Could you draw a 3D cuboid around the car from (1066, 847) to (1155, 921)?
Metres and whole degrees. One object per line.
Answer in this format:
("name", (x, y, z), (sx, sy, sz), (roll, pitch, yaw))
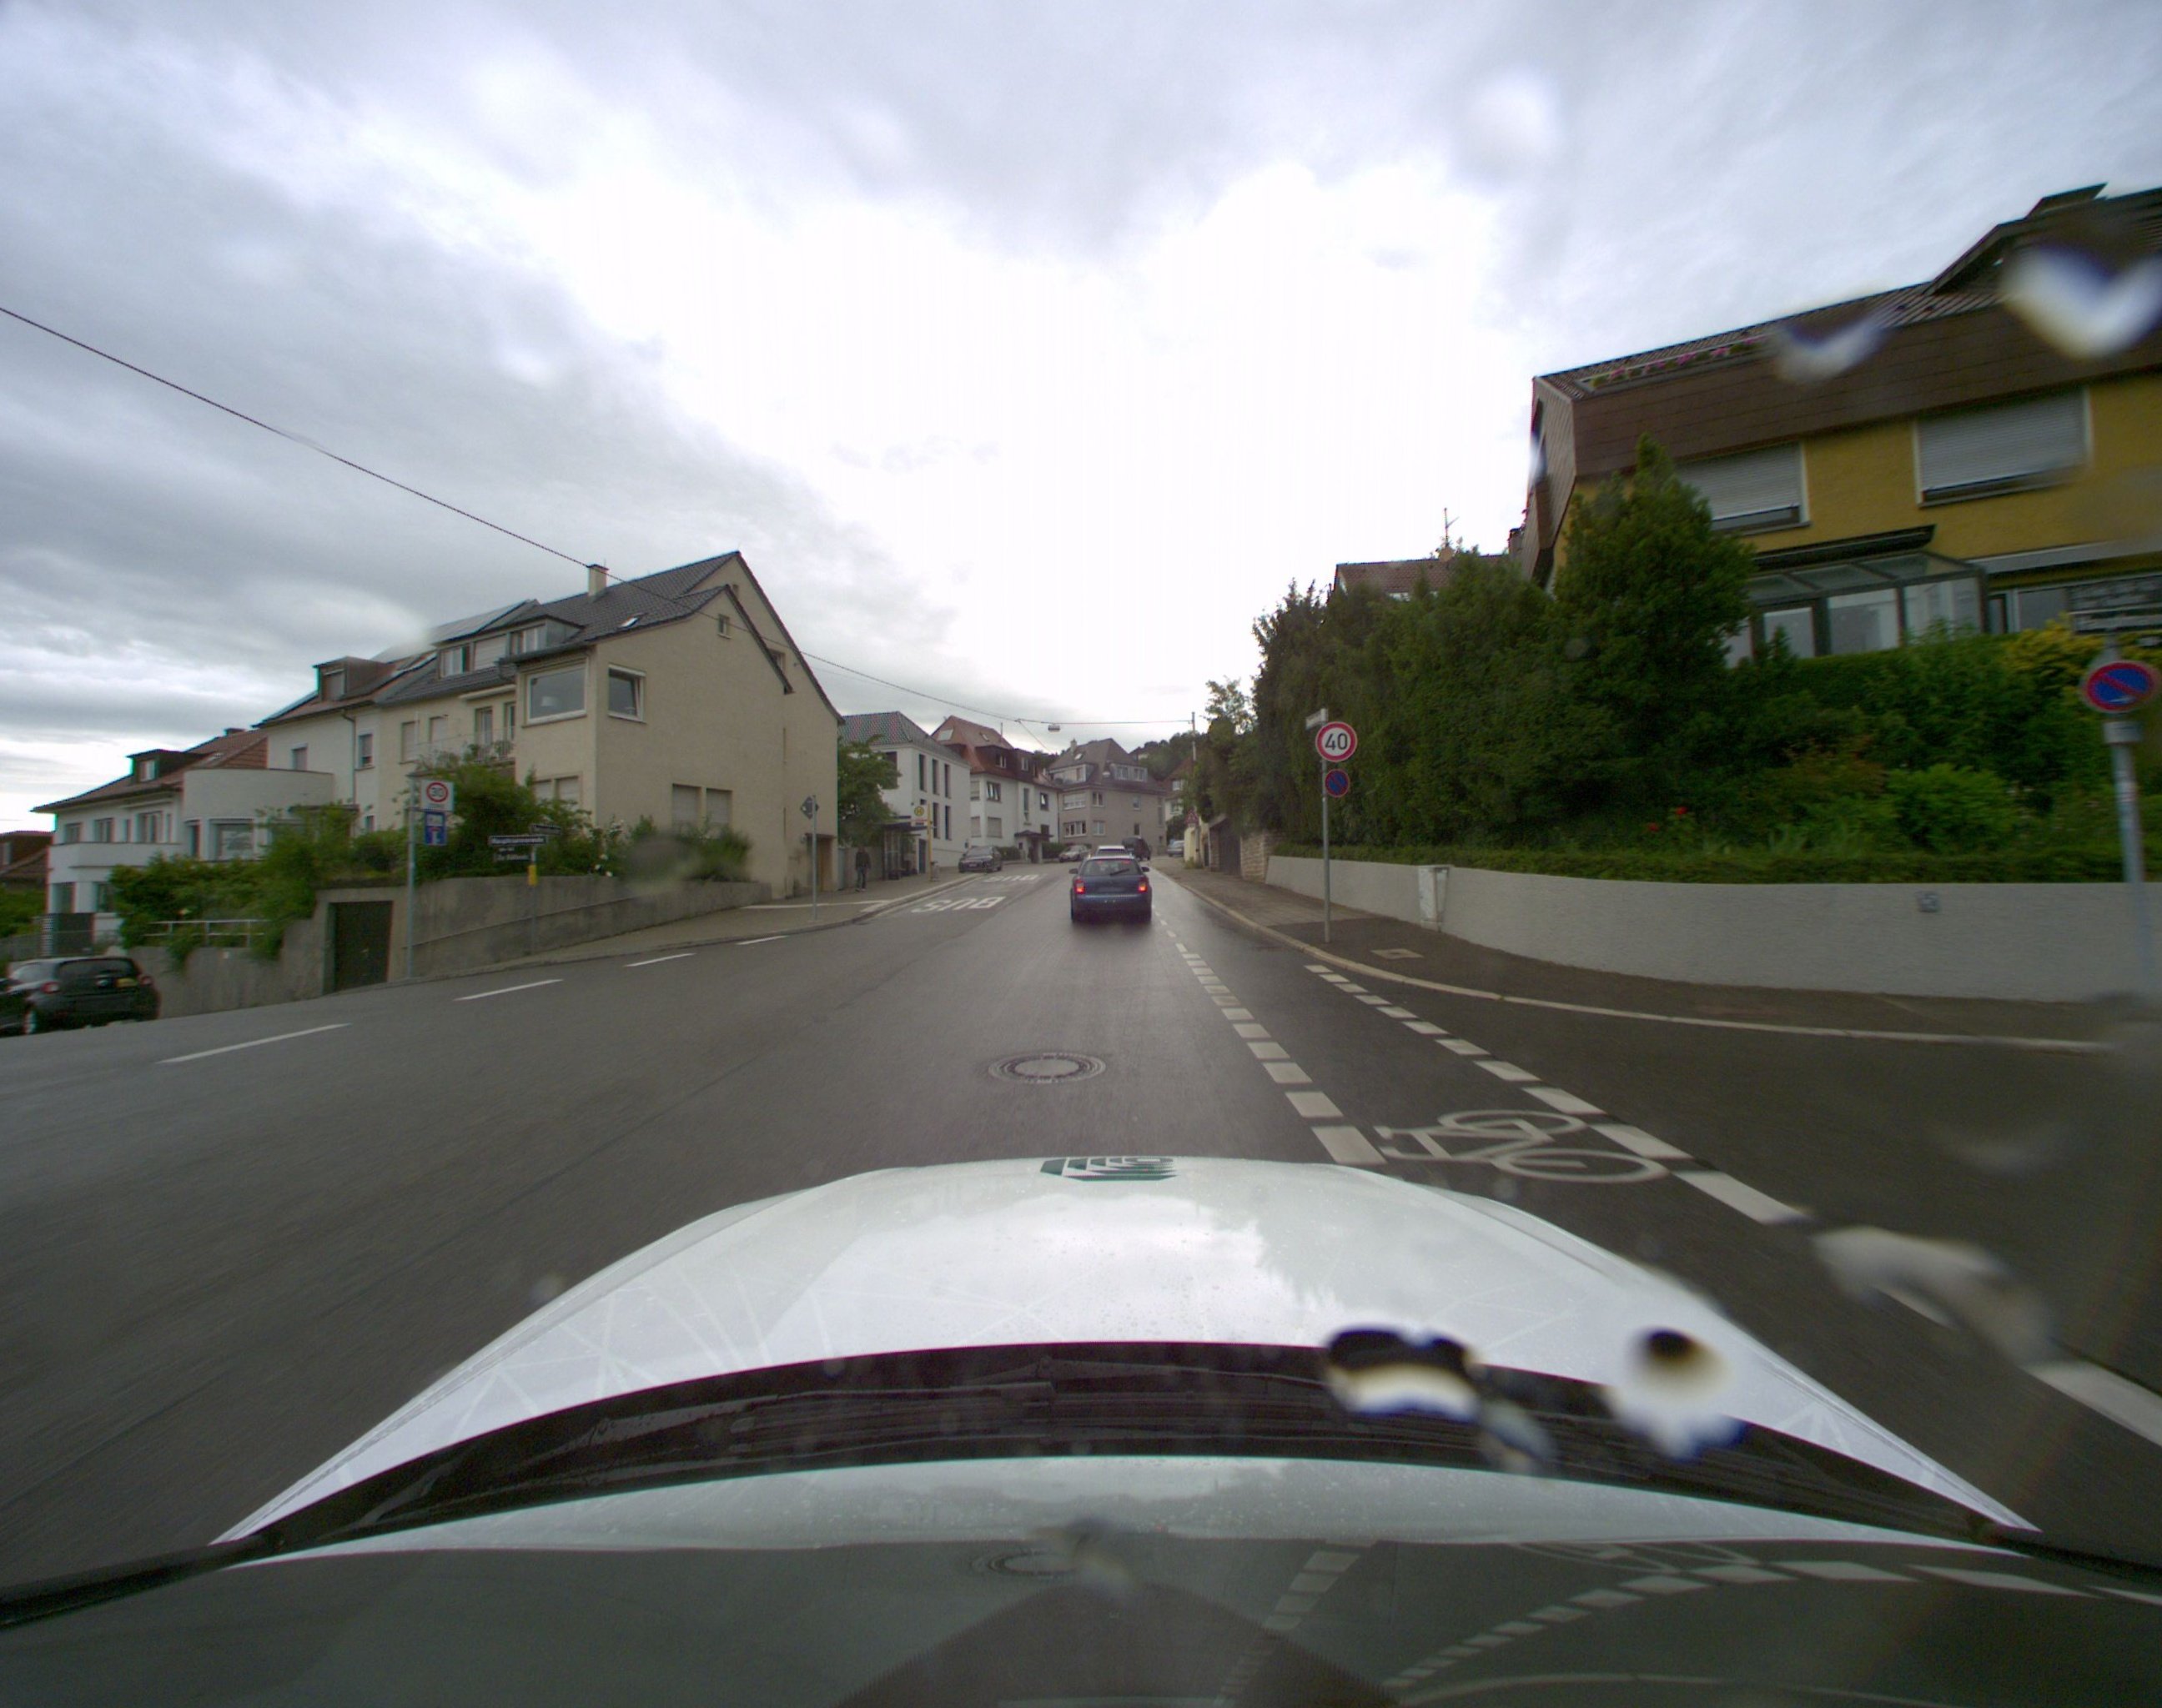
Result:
("car", (0.681, 0.586, 18.556), (1.804, 1.439, 4.084), (0, 1, 2))

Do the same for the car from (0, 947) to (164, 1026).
("car", (-21.082, 2.784, 16.877), (3.951, 1.271, 1.662), (-8, -6, 24))

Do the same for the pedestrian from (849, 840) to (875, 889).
("pedestrian", (-8.442, 0.399, 31.394), (0.783, 1.857, 0.728), (0, 0, 1))

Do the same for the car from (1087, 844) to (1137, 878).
("car", (1.258, 0.285, 34.797), (1.807, 1.361, 3.996), (0, 0, -3))

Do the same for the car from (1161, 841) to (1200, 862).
("car", (9.058, -0.245, 73.853), (1.909, 1.706, 4.026), (-3, 0, 33))

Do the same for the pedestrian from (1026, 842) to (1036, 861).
("pedestrian", (-4.271, -0.212, 70.046), (0.488, 1.577, 0.952), (-2, 1, 20))

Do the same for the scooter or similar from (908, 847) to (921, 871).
("scooter or similar", (-8.694, 0.273, 42.554), (0.336, 1.219, 1.123), (-1, 0, 3))

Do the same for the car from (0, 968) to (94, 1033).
("car", (-25.014, 3.494, 18.832), (3.951, 1.271, 1.818), (-8, -6, 24))

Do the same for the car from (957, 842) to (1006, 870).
("car", (-5.743, 0.110, 47.520), (1.820, 1.485, 4.998), (-2, 0, 5))

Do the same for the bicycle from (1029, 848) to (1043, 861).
("bicycle", (-3.856, 0.055, 69.898), (0.452, 1.067, 1.931), (-2, 1, 20))

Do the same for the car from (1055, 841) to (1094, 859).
("car", (-0.544, -0.365, 72.644), (1.819, 1.425, 4.254), (-4, 0, 24))

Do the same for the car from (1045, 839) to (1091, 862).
("car", (-1.313, -0.372, 81.719), (3.949, 1.822, 2.013), (-7, -2, 29))

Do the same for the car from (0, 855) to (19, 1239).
("car", (-5.418, 0.820, 1.406), (1.725, 1.545, 4.006), (-3, 0, 5))

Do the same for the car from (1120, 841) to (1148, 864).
("car", (4.148, -0.149, 63.127), (1.917, 1.706, 4.009), (0, 0, 8))
